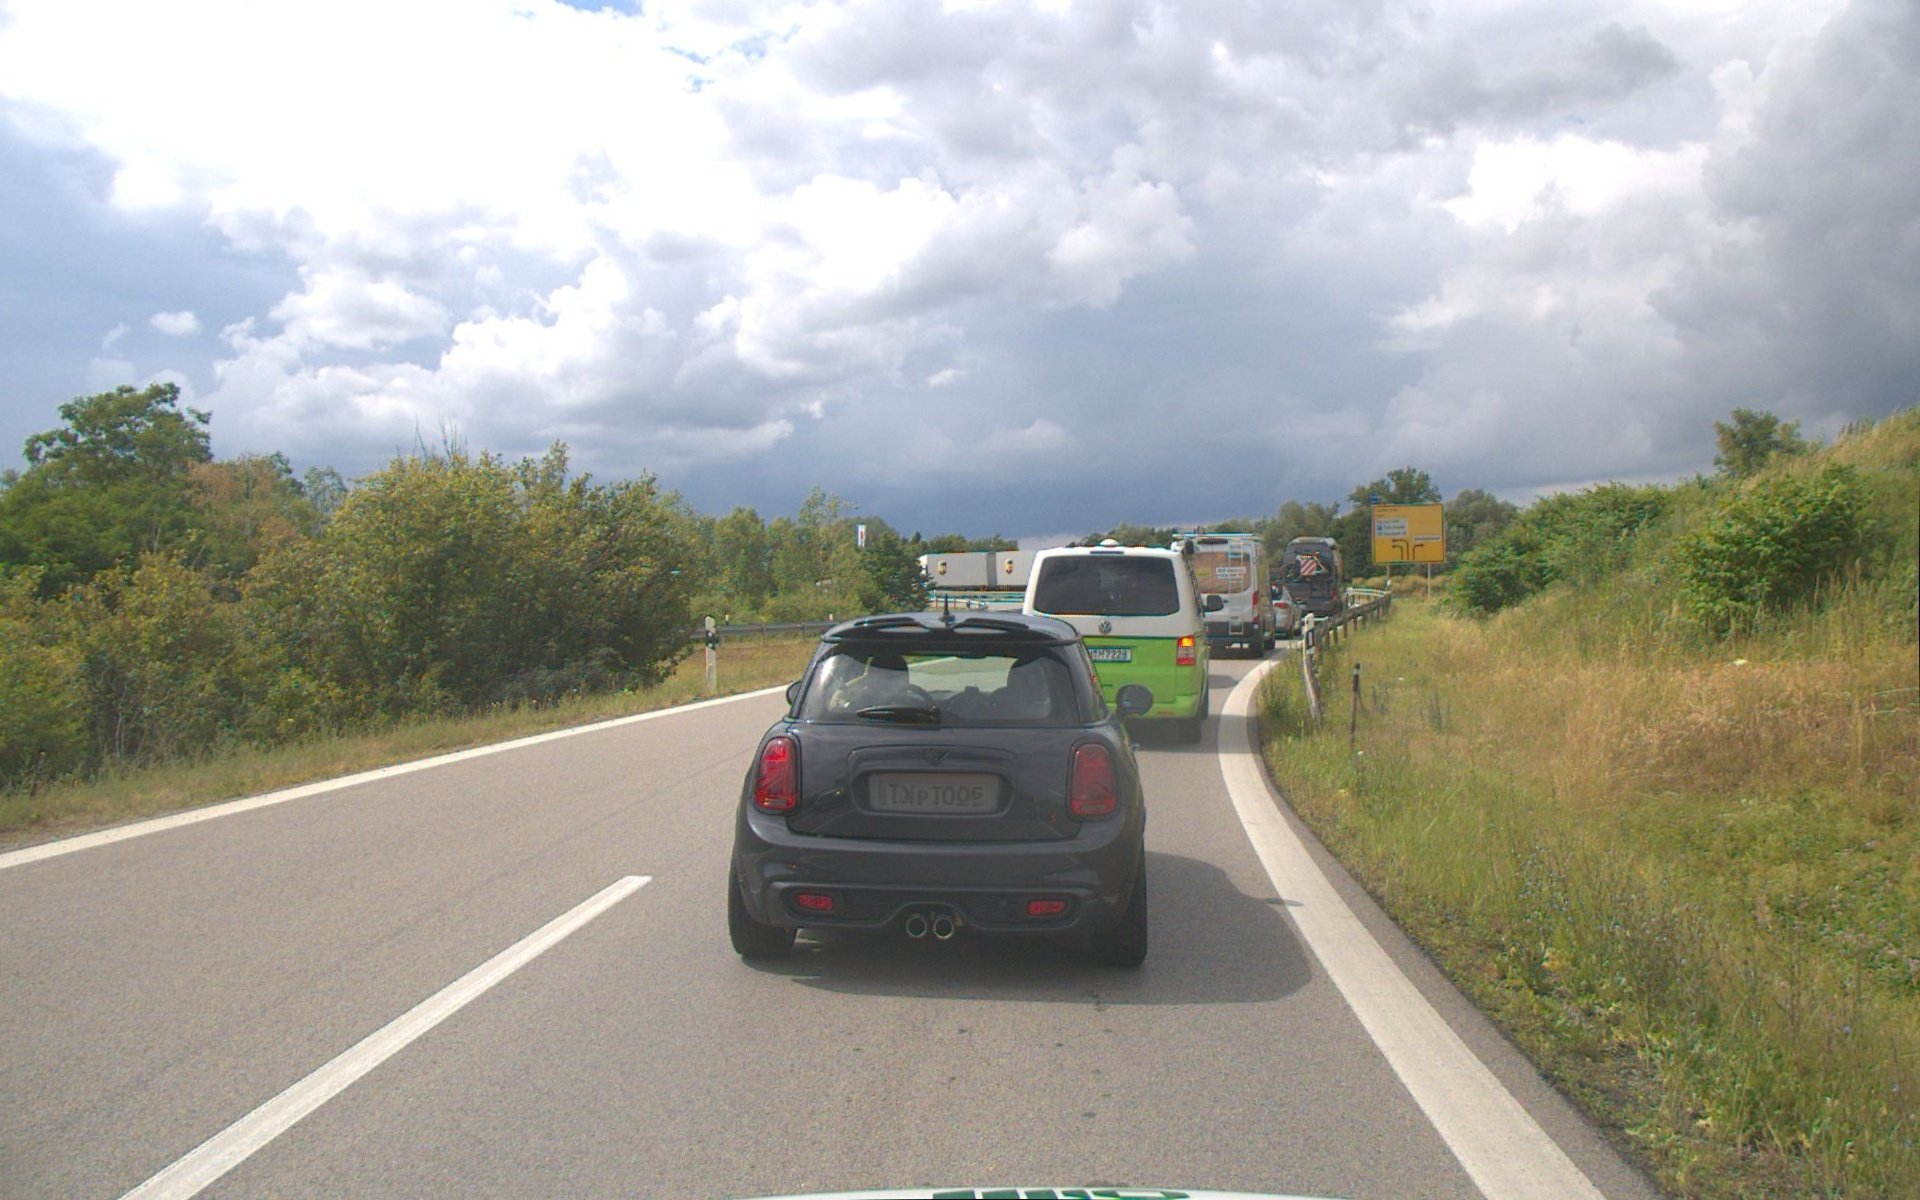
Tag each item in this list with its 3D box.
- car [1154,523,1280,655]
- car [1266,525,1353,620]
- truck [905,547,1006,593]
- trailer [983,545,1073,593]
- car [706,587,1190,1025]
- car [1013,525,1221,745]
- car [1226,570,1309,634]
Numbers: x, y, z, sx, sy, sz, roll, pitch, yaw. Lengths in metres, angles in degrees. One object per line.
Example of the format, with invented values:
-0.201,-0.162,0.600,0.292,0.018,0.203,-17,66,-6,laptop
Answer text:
5.777,-0.217,36.607,2.165,2.668,5.538,1,0,15,car
12.283,-0.894,57.794,2.262,3.122,6.665,1,0,18,car
-0.439,-2.665,148.655,9.856,4.045,2.827,1,0,43,truck
5.758,-2.622,141.706,3.012,3.966,8.660,1,0,-36,trailer
0.080,0.732,7.909,1.762,1.573,3.740,0,0,4,car
1.810,0.323,17.822,1.870,2.081,4.185,0,0,10,car
8.558,0.054,45.800,1.951,1.671,3.931,1,0,15,car
